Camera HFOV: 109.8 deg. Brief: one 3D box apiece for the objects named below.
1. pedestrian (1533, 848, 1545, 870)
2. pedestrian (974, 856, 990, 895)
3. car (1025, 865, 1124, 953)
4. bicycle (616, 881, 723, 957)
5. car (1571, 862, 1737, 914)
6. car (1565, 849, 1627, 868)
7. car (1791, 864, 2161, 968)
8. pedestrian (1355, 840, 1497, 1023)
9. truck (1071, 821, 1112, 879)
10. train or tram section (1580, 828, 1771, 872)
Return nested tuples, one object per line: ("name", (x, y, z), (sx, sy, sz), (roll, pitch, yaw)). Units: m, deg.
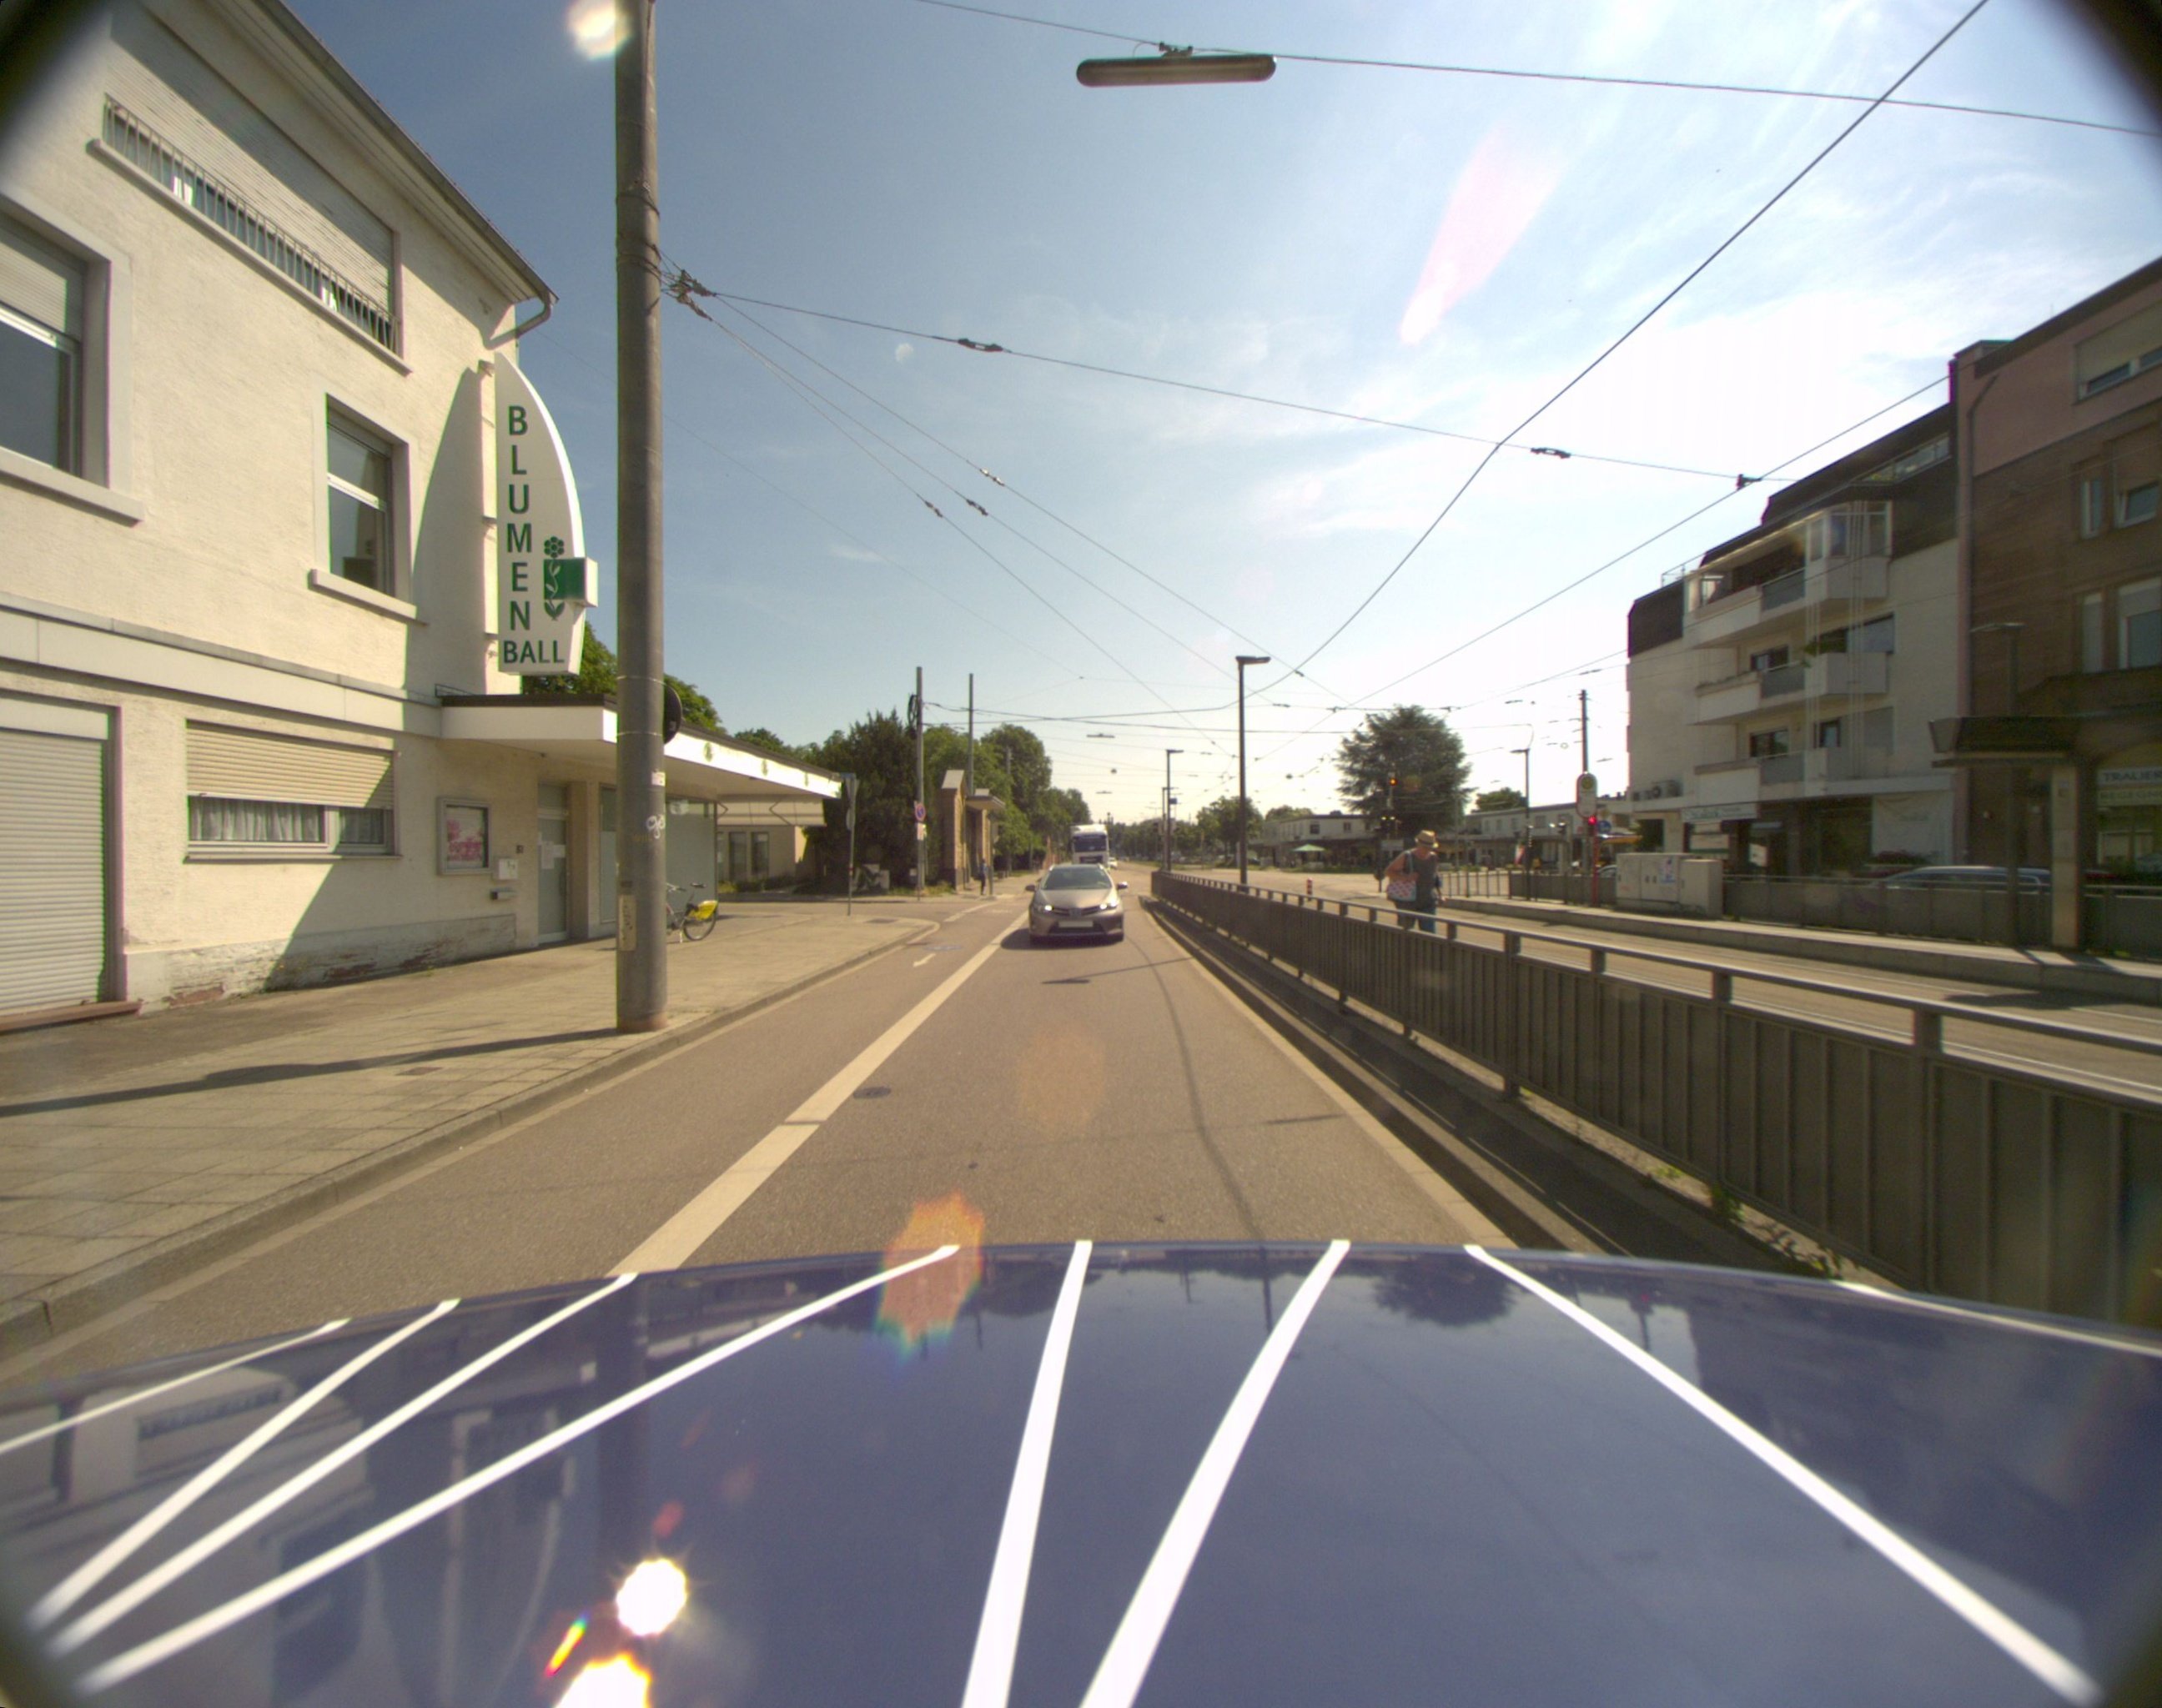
("pedestrian", (39.421, 0.434, 65.398), (0.608, 1.892, 0.606), (0, 1, -24))
("pedestrian", (-4.194, 0.920, 32.192), (0.499, 1.617, 0.500), (2, 1, 8))
("car", (-0.090, 0.992, 15.504), (1.695, 1.440, 4.481), (-1, 0, 1))
("bicycle", (-6.822, 1.041, 12.693), (0.511, 1.127, 1.693), (0, 0, 18))
("car", (16.338, 0.924, 21.963), (1.716, 1.236, 4.078), (-2, 0, 0))
("car", (48.865, 0.406, 72.114), (4.463, 1.740, 2.000), (0, 0, 3))
("car", (15.941, 0.977, 13.888), (1.716, 1.507, 4.473), (-2, 0, 0))
("pedestrian", (3.705, 0.781, 8.292), (0.983, 1.848, 1.237), (0, 1, 1))
("truck", (0.713, -0.290, 53.384), (2.657, 3.772, 7.863), (0, 0, 1))
("train or tram section", (48.829, -0.343, 62.659), (13.325, 3.460, 2.689), (0, 1, 3))
